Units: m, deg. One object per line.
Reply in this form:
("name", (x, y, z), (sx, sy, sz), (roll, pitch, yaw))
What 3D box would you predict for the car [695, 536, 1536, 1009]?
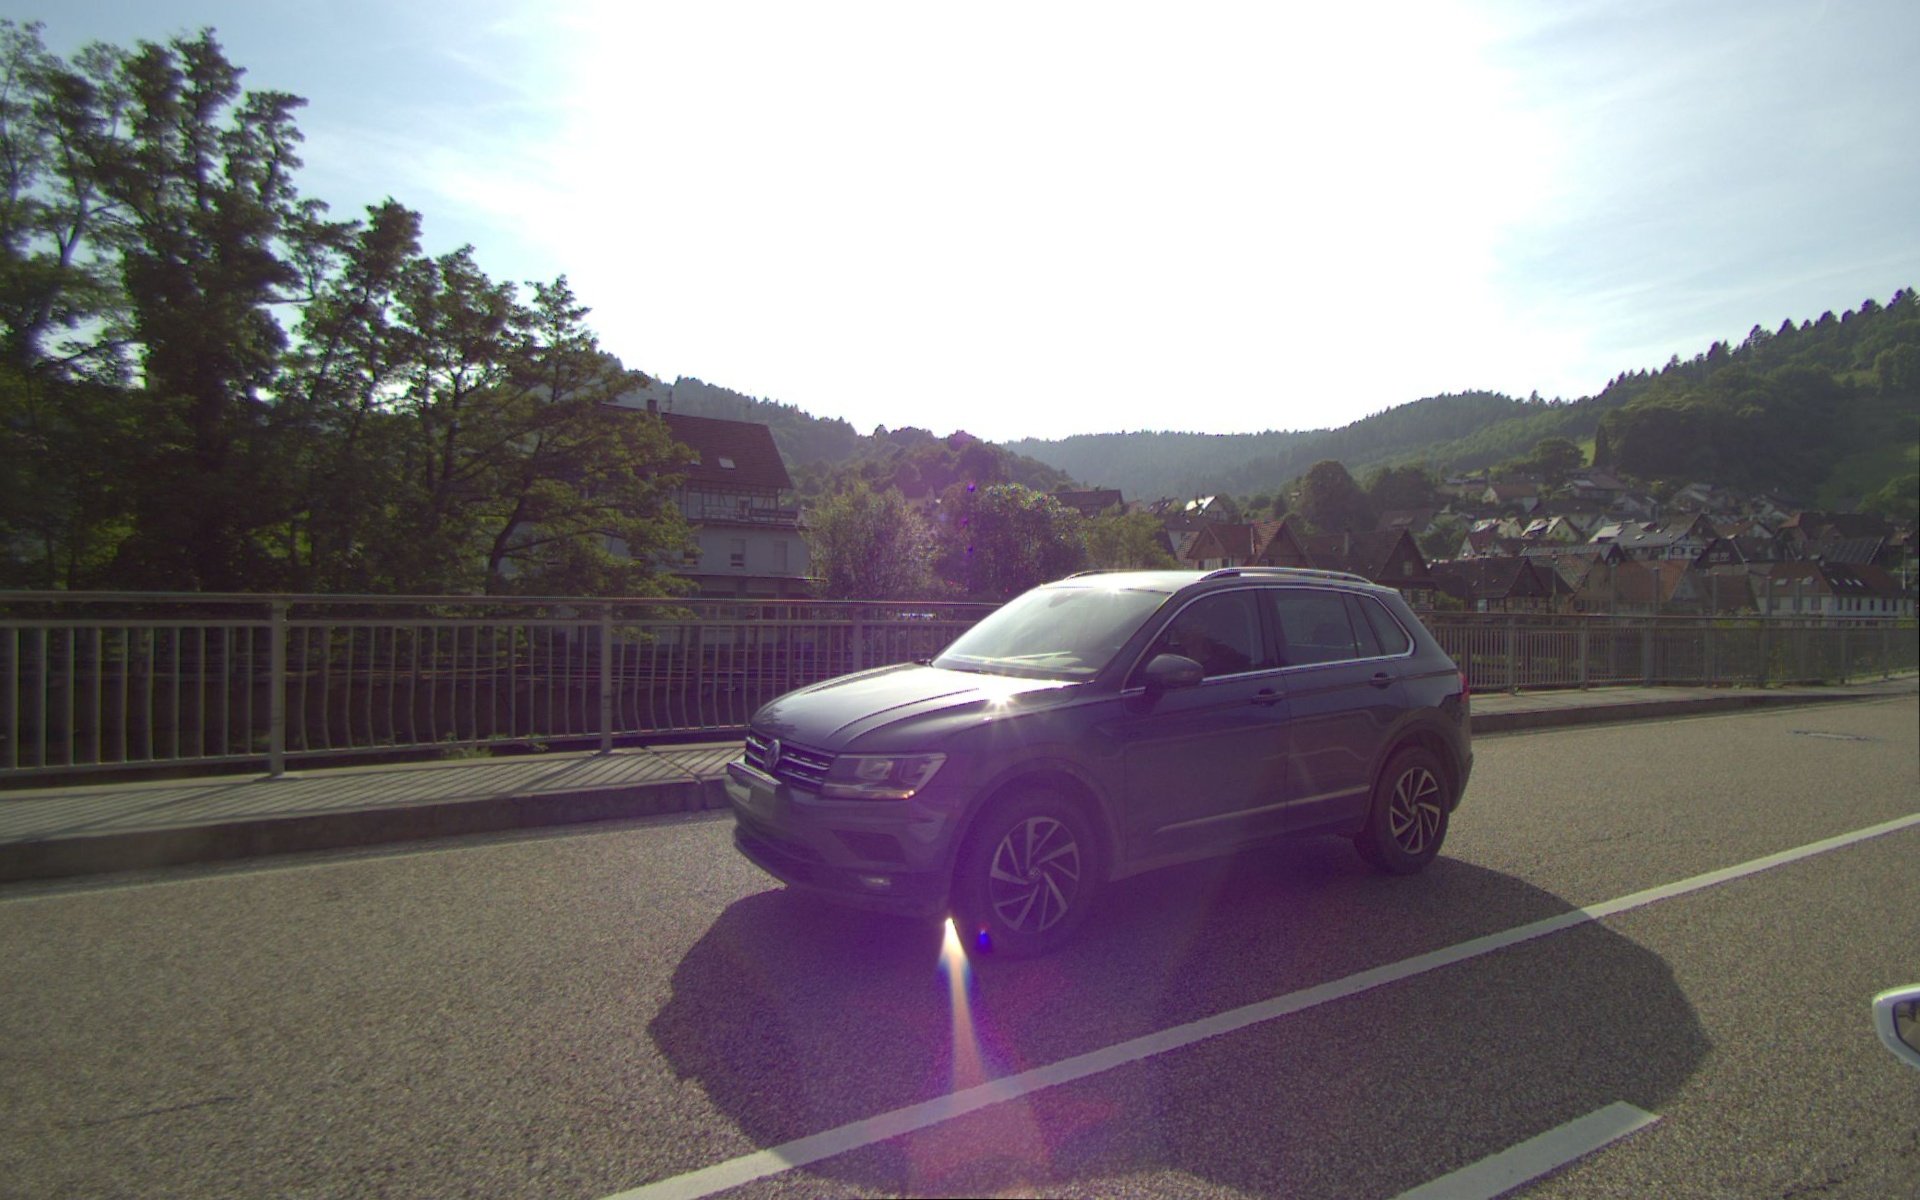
("car", (1.065, 0.642, 5.555), (4.563, 1.668, 1.806), (1, 0, -33))
